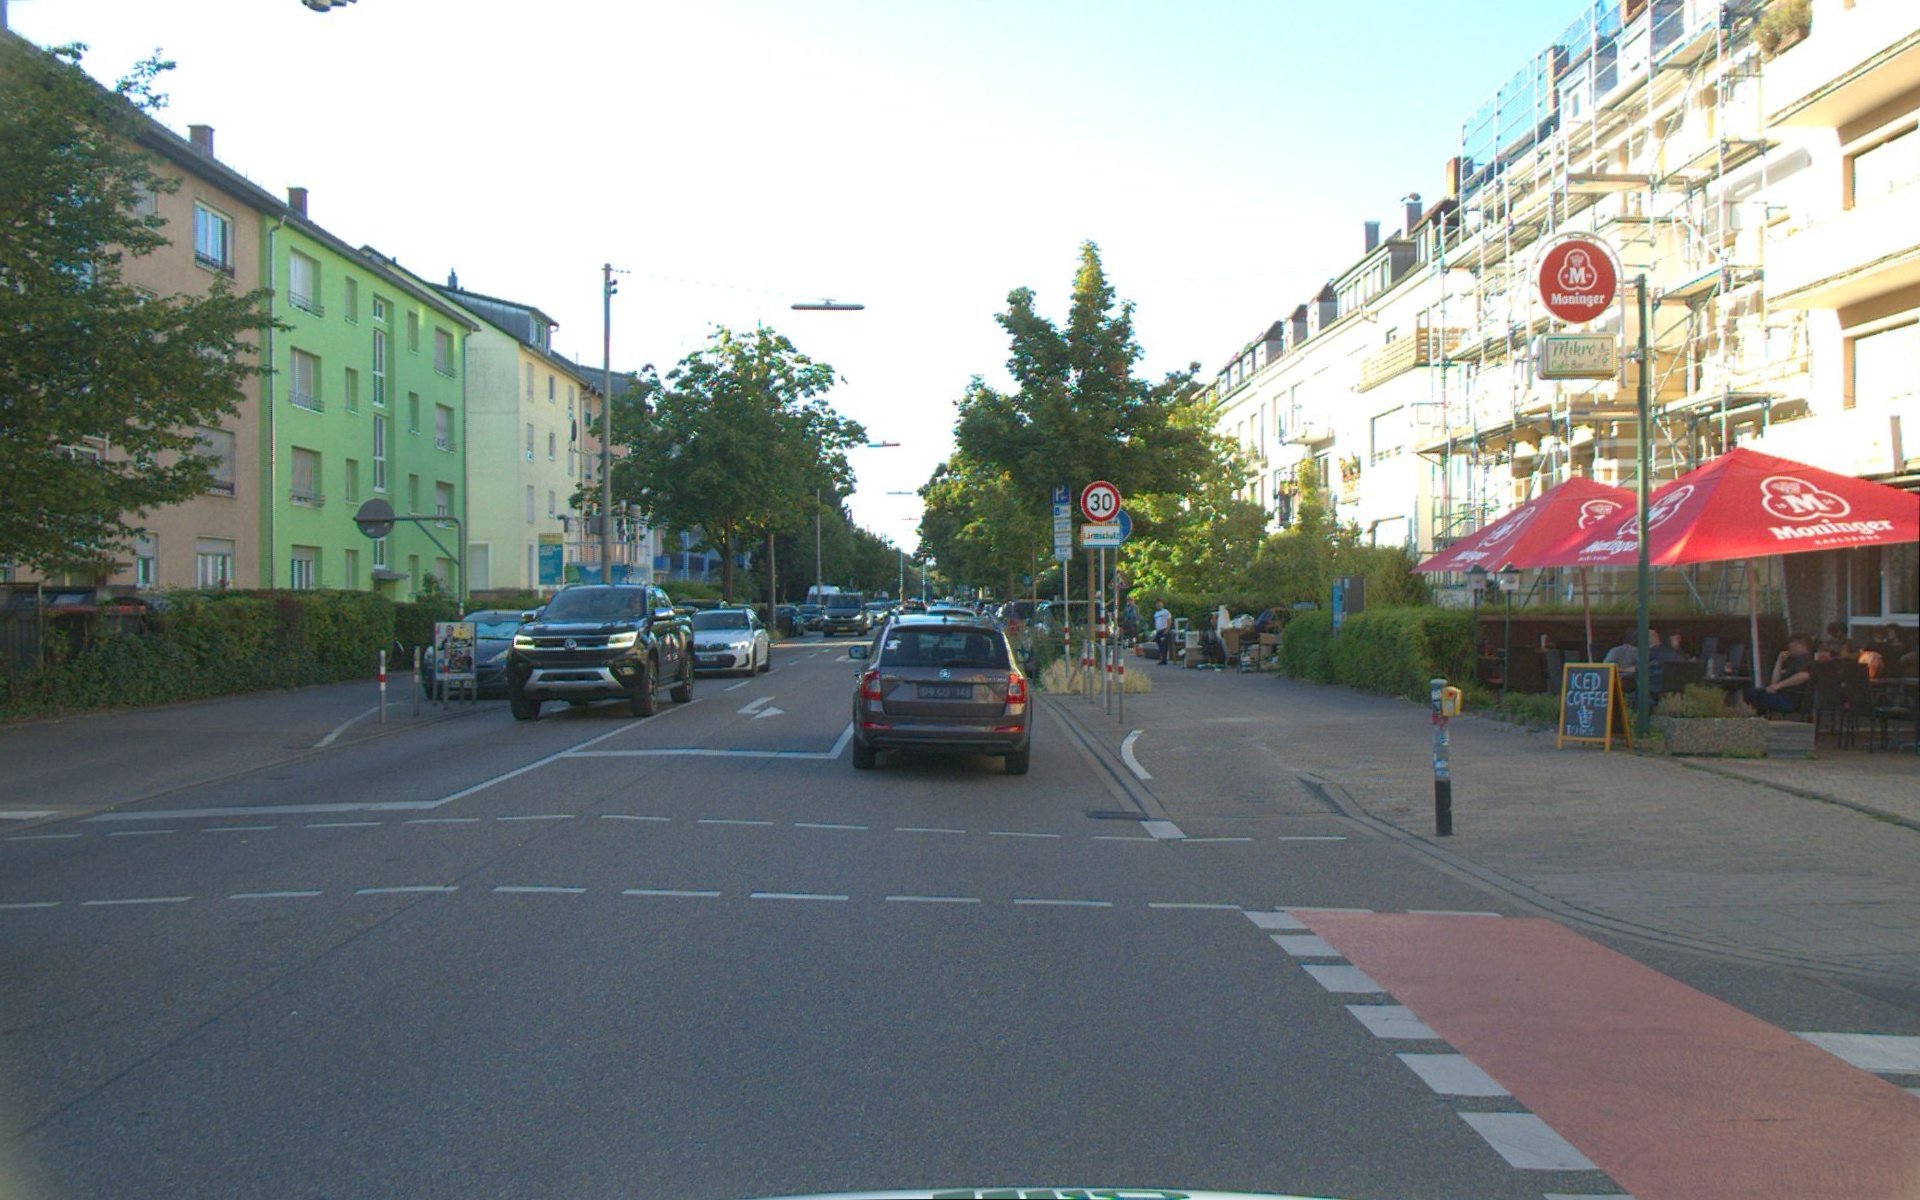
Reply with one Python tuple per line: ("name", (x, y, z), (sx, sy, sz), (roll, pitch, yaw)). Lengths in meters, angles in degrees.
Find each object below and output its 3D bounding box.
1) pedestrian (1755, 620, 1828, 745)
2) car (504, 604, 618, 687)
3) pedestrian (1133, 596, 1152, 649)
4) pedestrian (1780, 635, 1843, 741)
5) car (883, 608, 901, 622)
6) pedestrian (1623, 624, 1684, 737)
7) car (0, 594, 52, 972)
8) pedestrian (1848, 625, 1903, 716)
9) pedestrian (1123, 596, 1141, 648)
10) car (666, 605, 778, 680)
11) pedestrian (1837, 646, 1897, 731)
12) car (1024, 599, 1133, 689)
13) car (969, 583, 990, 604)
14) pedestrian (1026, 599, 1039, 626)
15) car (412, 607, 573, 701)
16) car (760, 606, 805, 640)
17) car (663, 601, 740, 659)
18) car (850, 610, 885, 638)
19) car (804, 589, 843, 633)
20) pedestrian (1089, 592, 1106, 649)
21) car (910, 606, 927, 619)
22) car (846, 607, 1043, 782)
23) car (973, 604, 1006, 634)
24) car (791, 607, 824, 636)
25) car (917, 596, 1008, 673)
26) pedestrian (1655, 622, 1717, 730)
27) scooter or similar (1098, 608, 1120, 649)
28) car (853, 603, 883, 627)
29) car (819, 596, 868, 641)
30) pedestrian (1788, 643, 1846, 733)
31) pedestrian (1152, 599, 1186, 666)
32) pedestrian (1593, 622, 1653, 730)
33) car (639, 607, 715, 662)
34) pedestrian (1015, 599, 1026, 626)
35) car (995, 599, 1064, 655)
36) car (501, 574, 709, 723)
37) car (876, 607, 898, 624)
("pedestrian", (8.867, 0.871, 17.654), (0.513, 1.305, 0.540), (0, -1, 1))
("car", (-8.026, 0.882, 33.558), (1.604, 1.579, 3.783), (0, 0, -3))
("pedestrian", (5.950, 0.744, 53.977), (0.500, 1.726, 0.526), (0, -1, -6))
("pedestrian", (9.559, 0.978, 18.567), (0.513, 1.170, 0.413), (0, -1, 5))
("car", (-7.522, 1.634, 182.015), (1.842, 1.570, 4.263), (0, 0, -4))
("pedestrian", (7.302, 0.837, 17.432), (0.403, 1.170, 0.632), (0, -1, 3))
("car", (-4.905, 0.770, 5.327), (1.768, 1.585, 3.999), (-1, 0, 0))
("pedestrian", (12.351, 0.955, 22.315), (0.513, 1.210, 0.413), (0, -2, 5))
("pedestrian", (5.697, 0.730, 54.808), (0.500, 1.726, 0.526), (0, -1, -6))
("car", (-5.147, 0.883, 36.381), (1.799, 1.499, 4.670), (-2, 0, -1))
("pedestrian", (11.006, 1.064, 20.080), (0.513, 1.008, 0.413), (0, -1, 5))
("car", (2.281, 0.819, 32.687), (1.756, 1.660, 4.028), (0, 0, -2))
("car", (1.663, -0.552, 141.543), (1.718, 1.716, 4.252), (1, 0, 1))
("pedestrian", (5.069, 0.862, 115.684), (0.781, 1.893, 0.951), (-1, 0, 10))
("car", (-7.931, 0.868, 28.411), (1.619, 1.505, 3.943), (0, 0, 0))
("car", (-8.415, 1.075, 78.698), (1.742, 1.531, 4.587), (0, 0, -1))
("car", (-8.222, 0.922, 52.968), (1.747, 1.763, 4.616), (0, 0, 0))
("car", (-5.214, 1.323, 93.629), (1.779, 1.472, 4.108), (-2, 0, -2))
("car", (-8.614, 0.676, 104.947), (1.953, 2.662, 7.103), (1, 0, -1))
("pedestrian", (4.544, 0.666, 54.589), (0.537, 1.882, 0.765), (0, 0, 6))
("car", (-5.734, 1.653, 227.075), (1.955, 1.780, 3.995), (0, 0, -6))
("car", (-0.108, 0.849, 16.740), (1.718, 1.518, 4.000), (1, 0, 1))
("car", (1.621, 1.068, 92.342), (1.683, 1.629, 4.095), (0, 0, -1))
("car", (-8.620, 1.197, 93.646), (1.579, 1.498, 3.812), (2, 0, -1))
("car", (0.014, 0.781, 37.266), (1.854, 1.532, 3.788), (4, -1, -1))
("pedestrian", (8.053, 0.837, 18.350), (0.476, 1.170, 0.526), (0, -1, 3))
("scooter or similar", (4.920, 0.935, 54.548), (0.730, 1.340, 0.721), (0, 0, 6))
("car", (-6.229, 0.986, 112.107), (1.795, 1.496, 4.450), (-3, 0, -1))
("car", (-5.484, 0.864, 78.374), (1.953, 1.980, 4.776), (-2, 0, -1))
("pedestrian", (10.423, 1.062, 20.130), (0.513, 1.067, 0.413), (0, -1, 5))
("pedestrian", (5.044, 0.775, 39.866), (0.547, 1.595, 0.744), (0, -1, -19))
("pedestrian", (7.375, 0.837, 18.406), (0.483, 1.170, 0.526), (0, -1, 3))
("car", (-8.174, 0.969, 48.105), (1.649, 1.548, 4.189), (0, 0, -2))
("pedestrian", (4.250, 0.856, 116.053), (0.733, 1.893, 1.067), (-1, 0, -2))
("car", (2.141, 0.819, 51.941), (1.687, 1.684, 4.594), (0, 0, -4))
("car", (-4.986, 0.645, 23.983), (1.824, 1.862, 5.227), (-2, 0, 0))
("car", (-6.621, 1.393, 150.154), (1.665, 1.496, 4.295), (-1, 0, 2))
